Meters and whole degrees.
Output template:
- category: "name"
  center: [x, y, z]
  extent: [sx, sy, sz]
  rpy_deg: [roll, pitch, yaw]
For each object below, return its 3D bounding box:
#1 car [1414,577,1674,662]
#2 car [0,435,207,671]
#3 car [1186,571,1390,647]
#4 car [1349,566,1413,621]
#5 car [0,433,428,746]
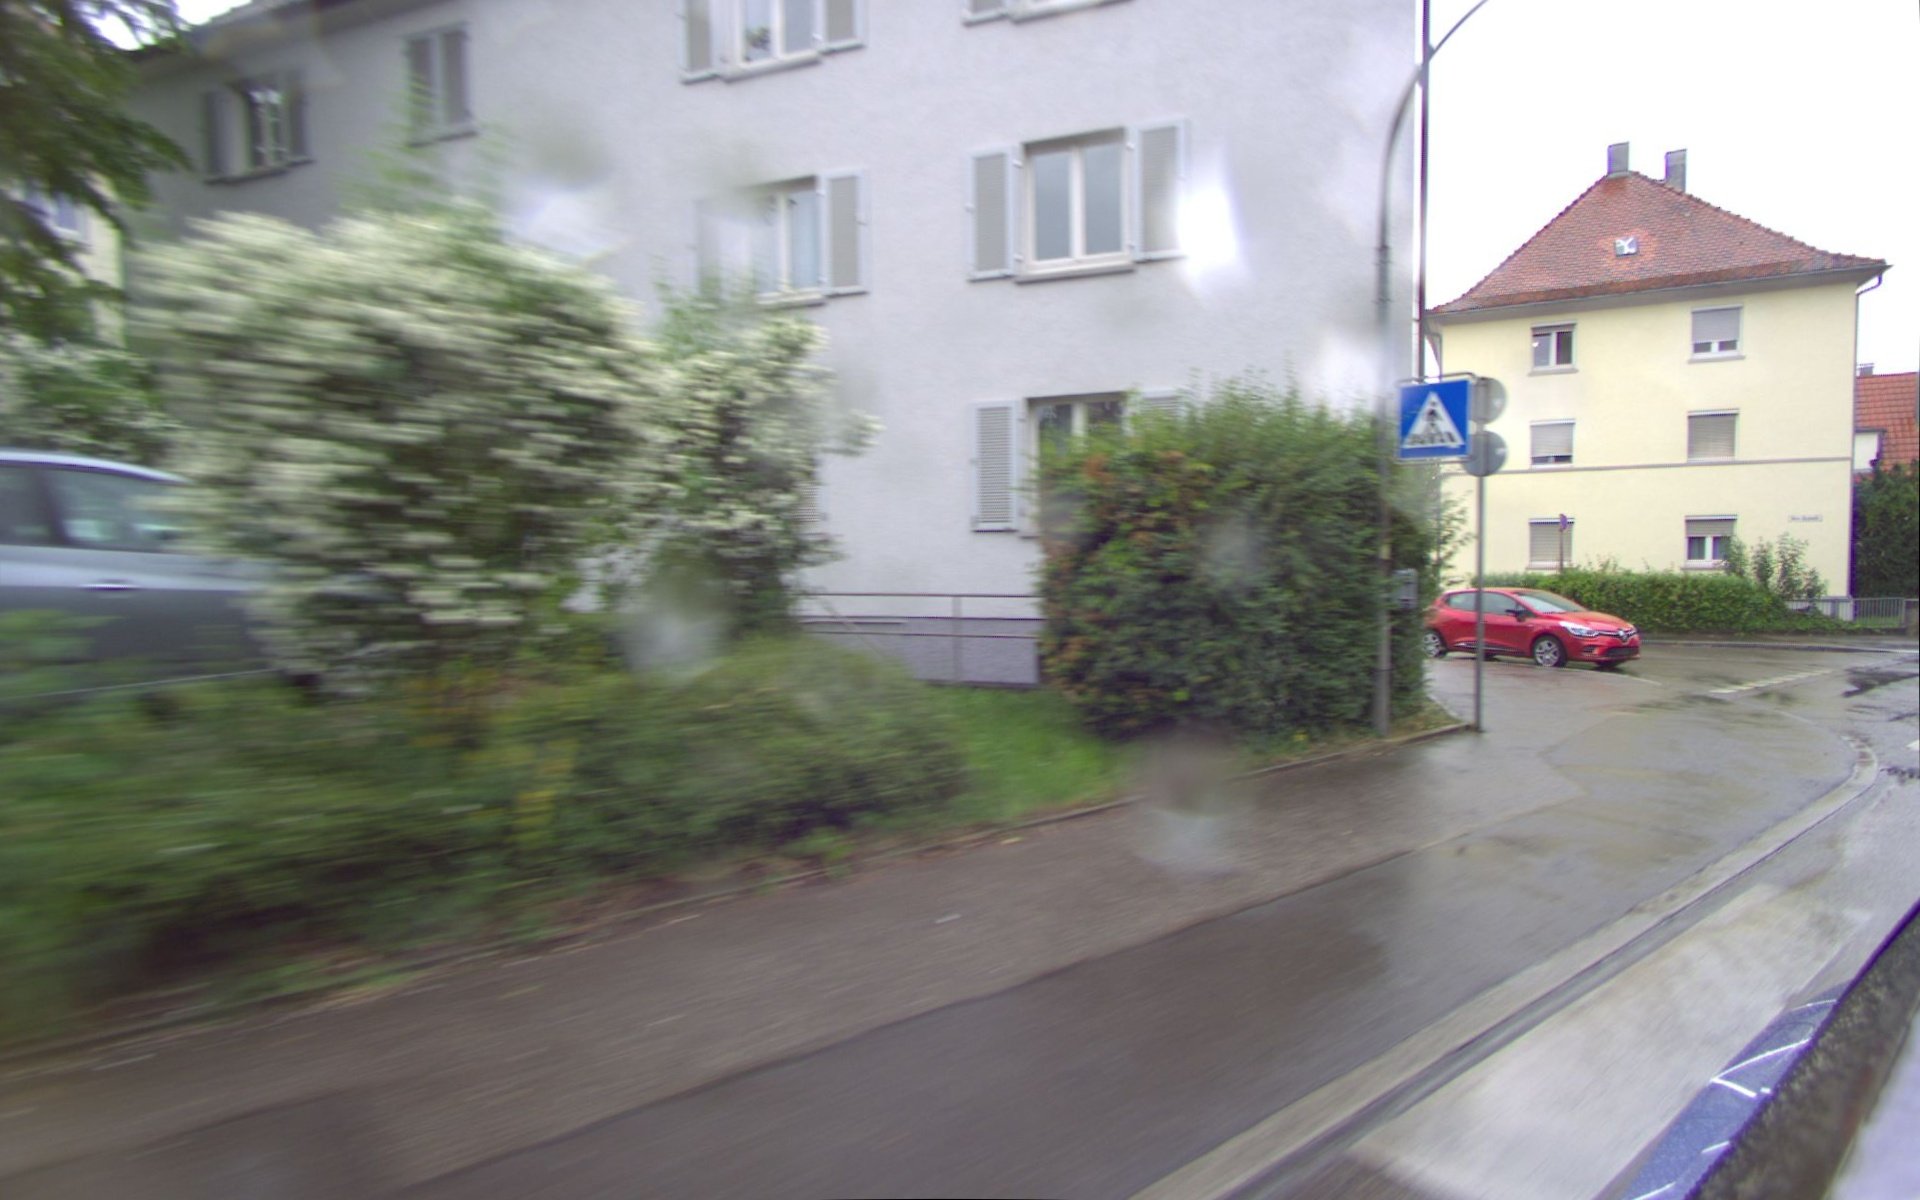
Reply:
- category: "car"
  center: [10.838, 0.305, 19.134]
  extent: [1.688, 1.425, 4.101]
  rpy_deg: [0, 0, -22]
- category: "car"
  center: [-7.802, -0.333, 6.662]
  extent: [1.784, 1.611, 4.210]
  rpy_deg: [5, 7, 32]
- category: "car"
  center: [7.554, 0.181, 23.536]
  extent: [4.224, 1.609, 1.698]
  rpy_deg: [0, 0, 43]
- category: "car"
  center: [12.922, -0.253, 30.937]
  extent: [1.706, 1.462, 3.941]
  rpy_deg: [0, 3, 24]
- category: "car"
  center: [-5.390, -0.145, 5.909]
  extent: [1.709, 1.581, 3.760]
  rpy_deg: [5, 6, 28]
